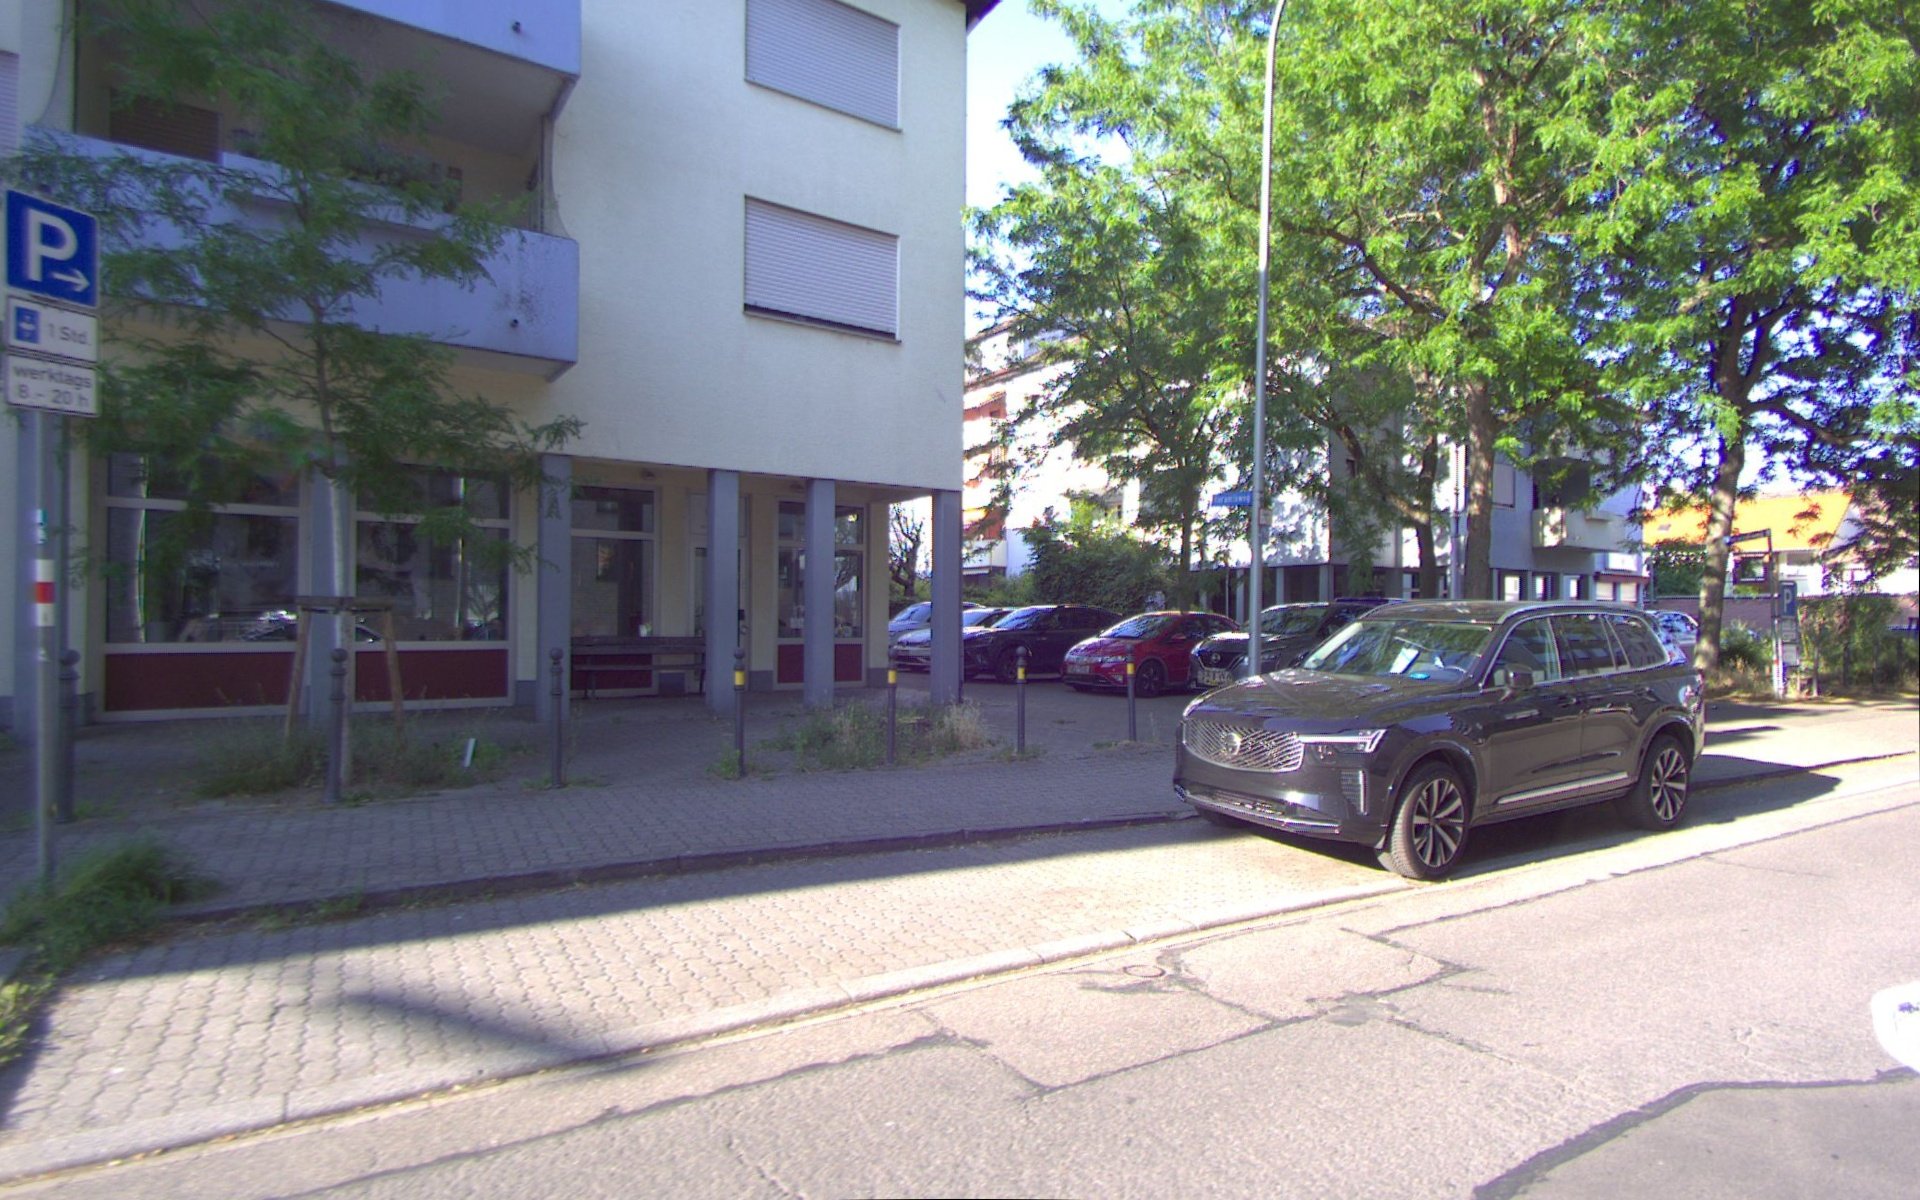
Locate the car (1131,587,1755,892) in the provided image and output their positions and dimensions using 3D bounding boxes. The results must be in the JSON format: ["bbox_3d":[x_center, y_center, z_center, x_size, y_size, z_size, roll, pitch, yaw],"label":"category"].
[{"bbox_3d":[3.925,0.831,7.871,5.041,1.728,1.922,1,1,-31],"label":"car"}]

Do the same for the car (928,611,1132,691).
[{"bbox_3d":[1.406,0.985,19.945,3.765,1.459,1.679,1,-2,-29],"label":"car"}]

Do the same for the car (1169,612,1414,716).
[{"bbox_3d":[5.069,0.927,15.316,3.594,1.427,1.515,1,-2,-29],"label":"car"}]

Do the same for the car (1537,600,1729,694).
[{"bbox_3d":[15.142,0.985,22.510,4.853,1.920,1.832,0,-1,-33],"label":"car"}]

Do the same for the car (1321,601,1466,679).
[{"bbox_3d":[11.916,1.058,27.502,4.290,1.974,2.000,1,-2,-41],"label":"car"}]

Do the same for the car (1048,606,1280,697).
[{"bbox_3d":[3.724,0.884,17.952,4.390,1.460,1.565,1,-2,-37],"label":"car"}]

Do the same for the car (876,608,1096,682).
[{"bbox_3d":[0.652,1.001,23.159,4.780,1.495,1.982,1,1,-33],"label":"car"}]

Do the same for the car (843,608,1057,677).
[{"bbox_3d":[-0.209,1.009,25.207,5.126,1.581,1.929,1,-1,-31],"label":"car"}]
